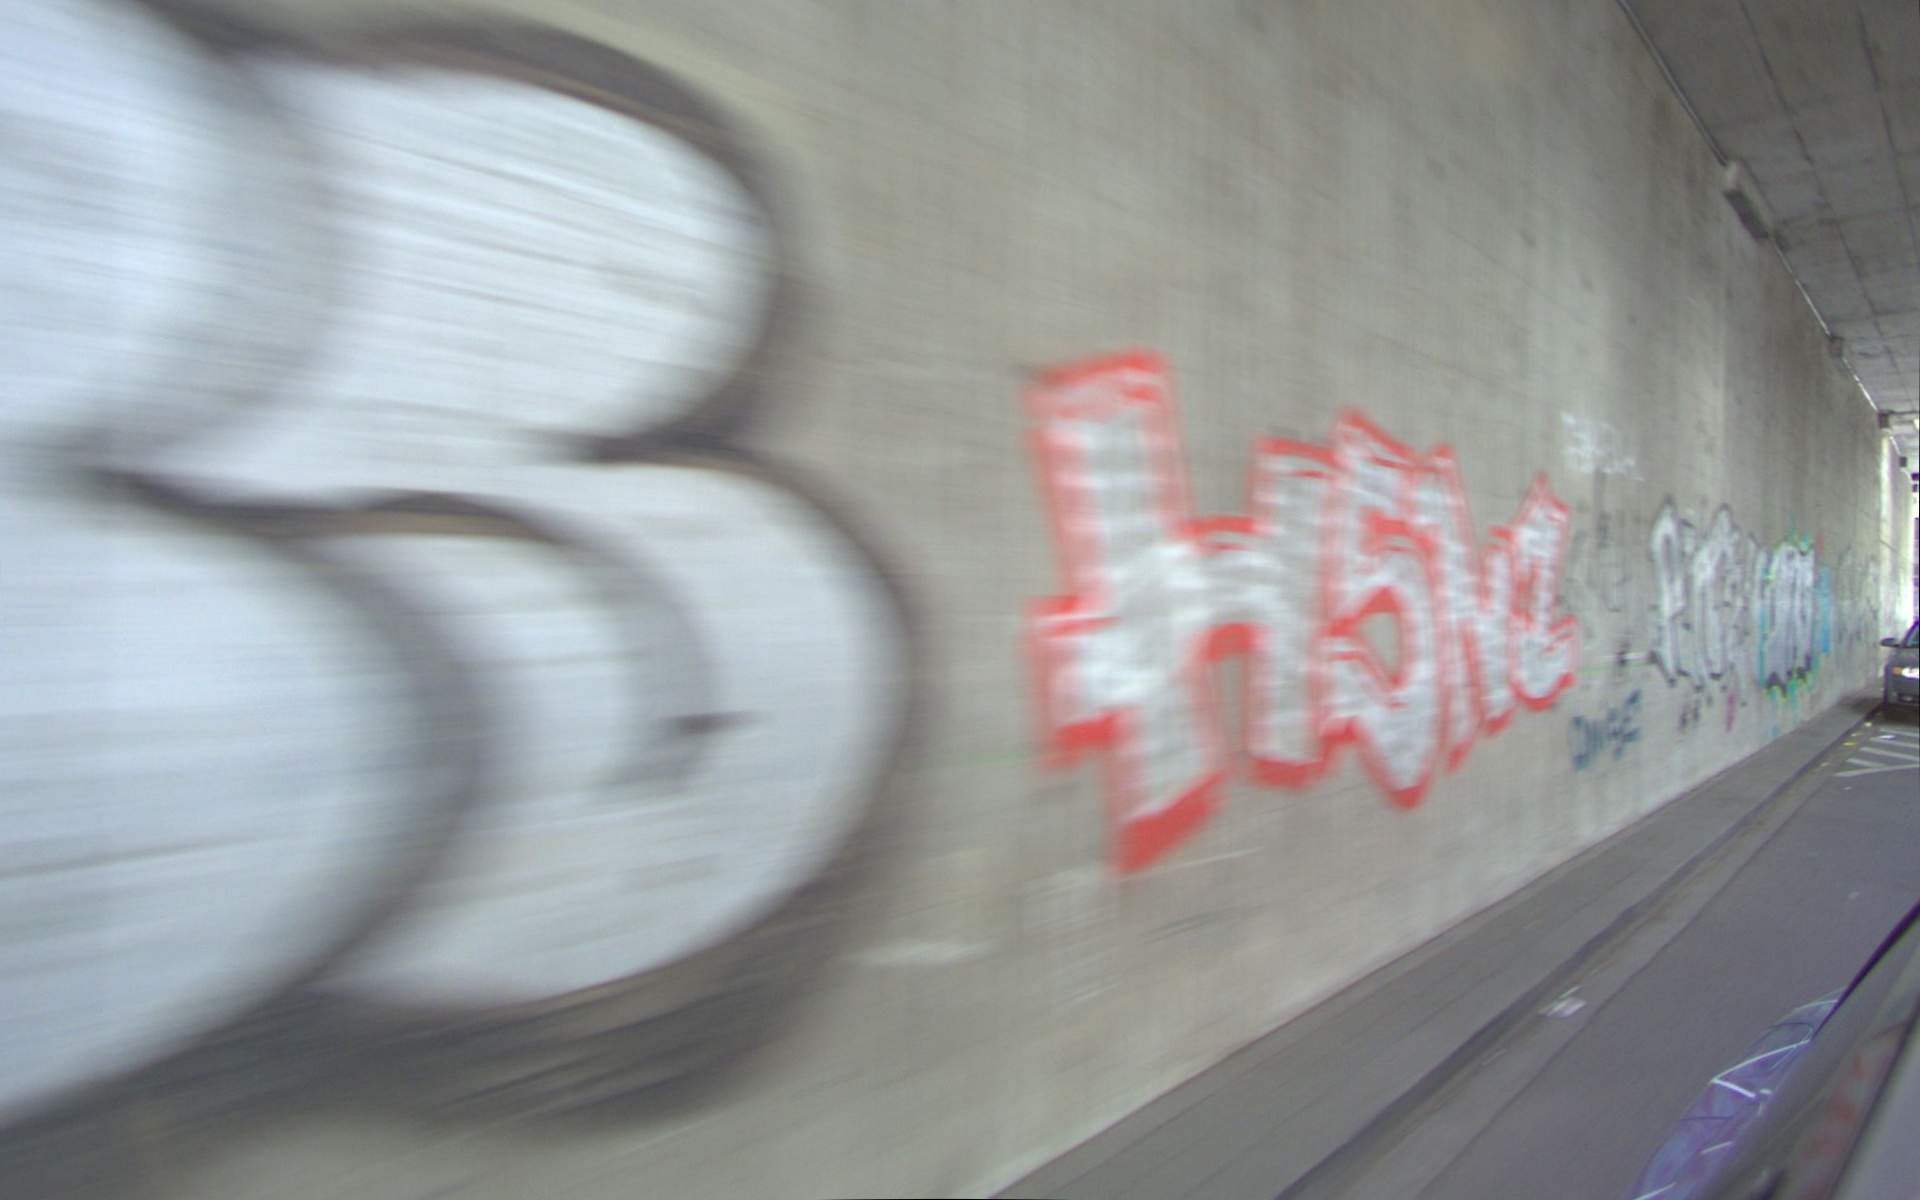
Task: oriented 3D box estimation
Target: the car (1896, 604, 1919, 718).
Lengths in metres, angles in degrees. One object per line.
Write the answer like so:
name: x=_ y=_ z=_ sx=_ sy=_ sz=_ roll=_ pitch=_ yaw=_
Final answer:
car: x=13.818 y=0.757 z=13.548 sx=4.302 sy=1.392 sz=1.702 roll=0 pitch=0 yaw=-45
